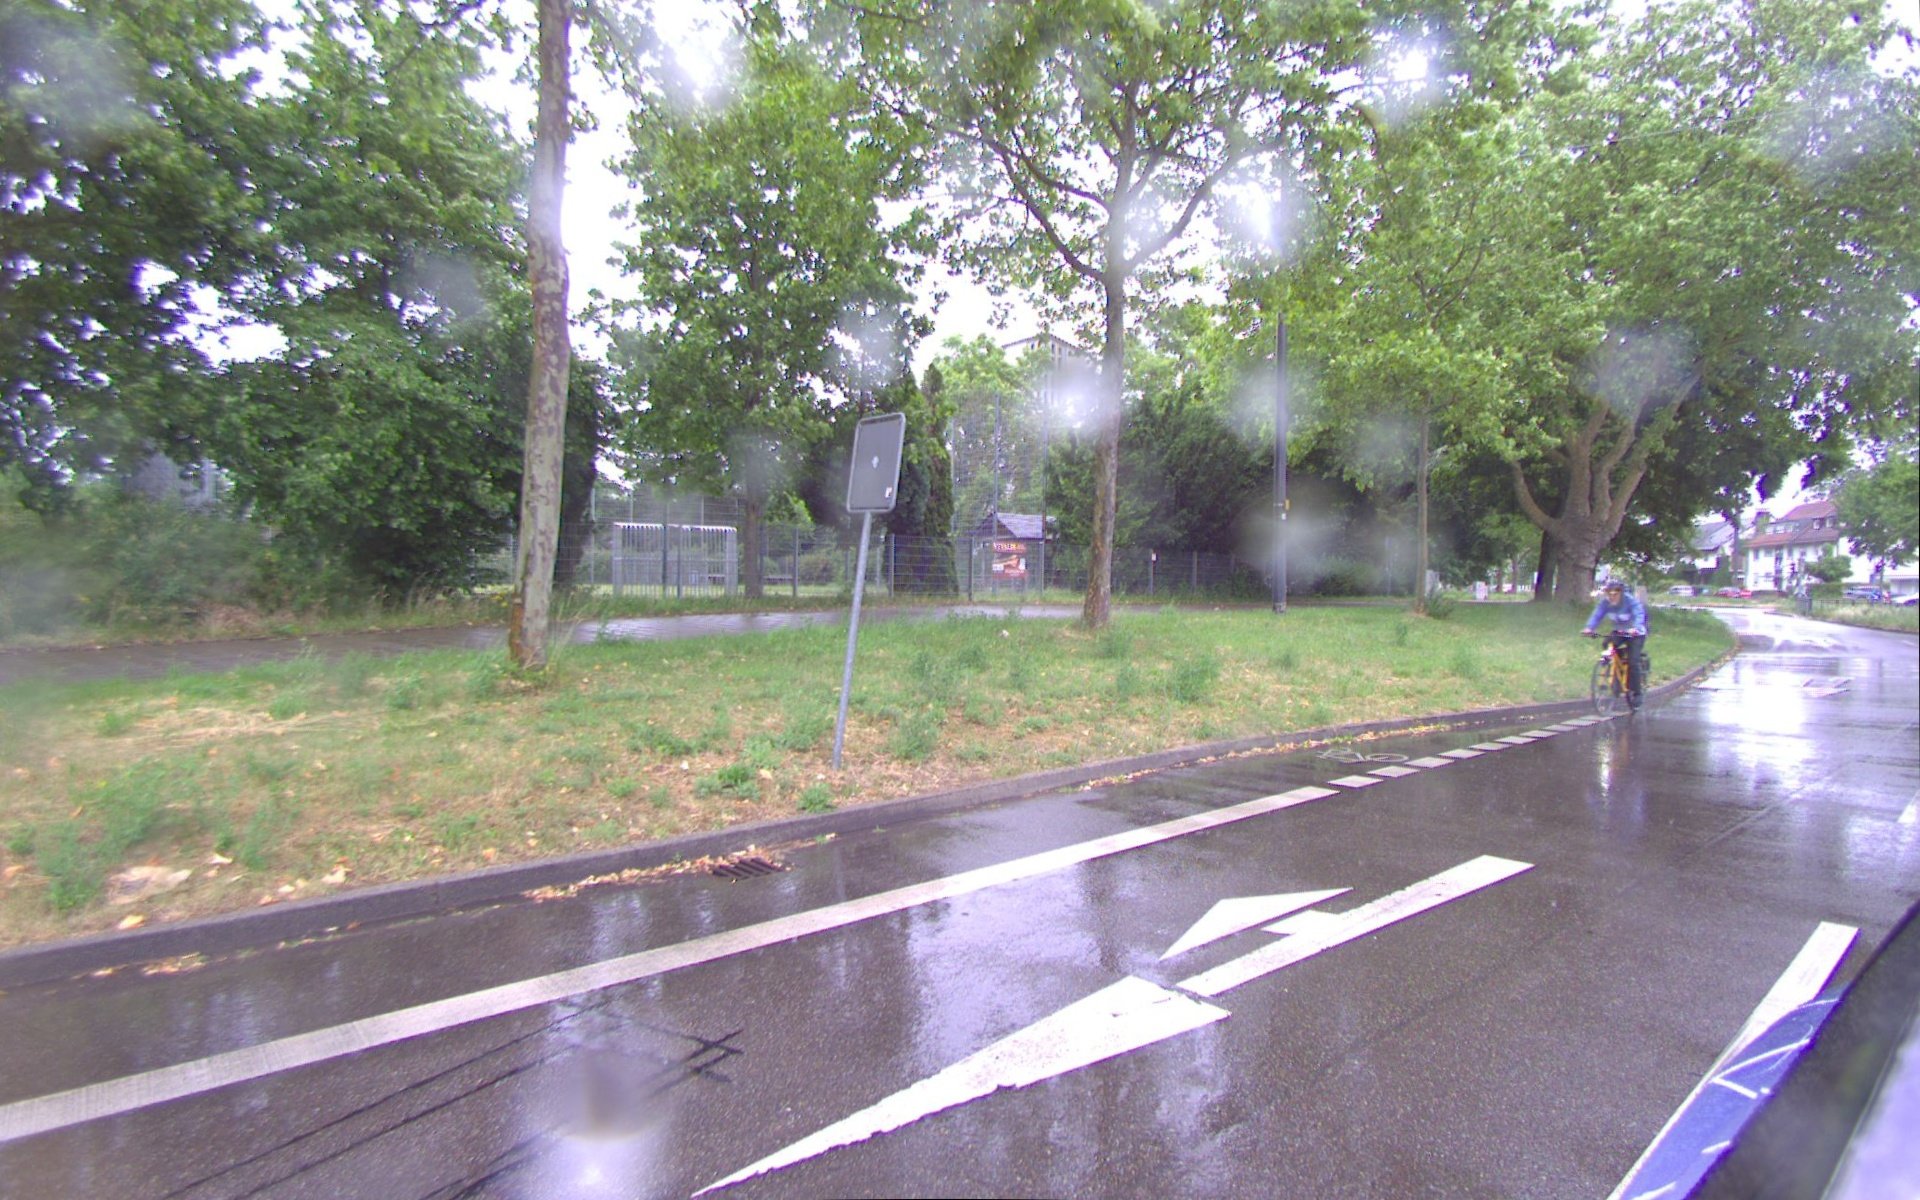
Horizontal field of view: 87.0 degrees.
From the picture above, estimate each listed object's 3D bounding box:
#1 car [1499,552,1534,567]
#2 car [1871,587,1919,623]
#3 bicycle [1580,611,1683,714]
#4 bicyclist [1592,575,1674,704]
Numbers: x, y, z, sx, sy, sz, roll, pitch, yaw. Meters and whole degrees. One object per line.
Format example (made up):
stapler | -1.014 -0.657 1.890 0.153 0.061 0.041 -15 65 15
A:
car | 73.466 -5.297 133.647 3.958 1.850 1.983 0 0 25
car | 39.403 0.192 40.653 4.025 1.438 1.652 0 0 39
bicycle | 8.328 0.728 12.519 1.854 1.131 0.691 -1 1 -45
bicyclist | 8.316 0.462 12.503 0.830 1.525 0.691 -1 1 -44
